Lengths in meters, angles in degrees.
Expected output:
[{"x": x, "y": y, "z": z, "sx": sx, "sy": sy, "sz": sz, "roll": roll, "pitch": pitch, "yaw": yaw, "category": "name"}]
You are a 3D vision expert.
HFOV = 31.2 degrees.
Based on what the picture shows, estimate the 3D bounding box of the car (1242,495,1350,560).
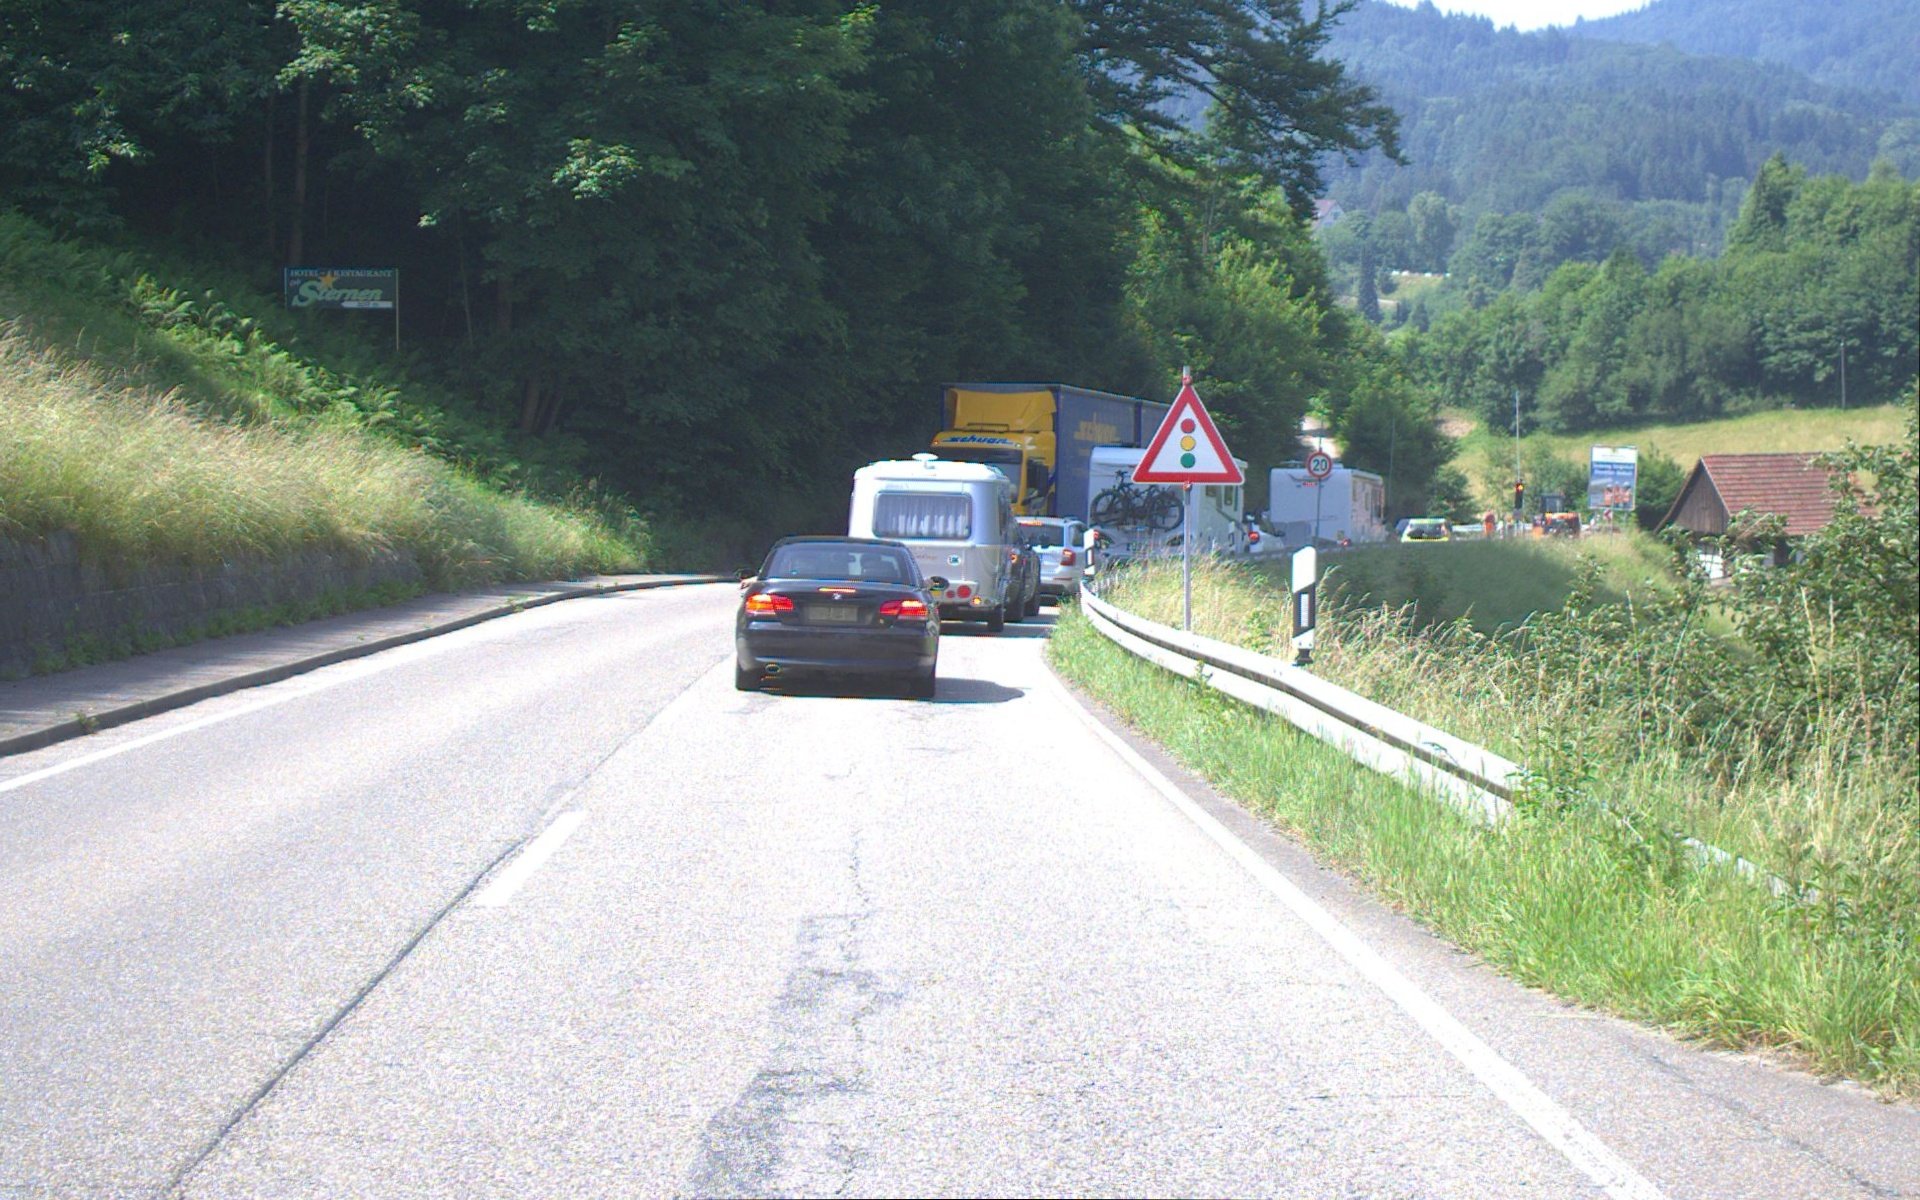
[{"x": 8.396, "y": -1.822, "z": 85.646, "sx": 1.789, "sy": 1.459, "sz": 3.997, "roll": 5, "pitch": 3, "yaw": 18, "category": "car"}]

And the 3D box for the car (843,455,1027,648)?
[{"x": -0.269, "y": -0.716, "z": 45.896, "sx": 1.994, "sy": 2.344, "sz": 4.914, "roll": 2, "pitch": 3, "yaw": 4, "category": "car"}]

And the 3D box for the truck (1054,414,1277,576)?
[{"x": 4.306, "y": -2.142, "z": 70.506, "sx": 2.793, "sy": 2.987, "sz": 6.862, "roll": 4, "pitch": 3, "yaw": 17, "category": "truck"}]

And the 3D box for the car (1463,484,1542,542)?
[{"x": 19.548, "y": -3.138, "z": 123.773, "sx": 1.996, "sy": 1.919, "sz": 3.996, "roll": 5, "pitch": 3, "yaw": 19, "category": "car"}]

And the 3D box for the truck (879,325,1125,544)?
[{"x": 0.994, "y": -3.512, "z": 73.787, "sx": 3.191, "sy": 4.381, "sz": 6.565, "roll": 4, "pitch": 3, "yaw": 19, "category": "truck"}]

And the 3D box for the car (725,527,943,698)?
[{"x": -1.106, "y": 0.065, "z": 30.516, "sx": 1.771, "sy": 1.331, "sz": 3.767, "roll": 2, "pitch": 2, "yaw": -2, "category": "car"}]

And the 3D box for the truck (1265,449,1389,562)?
[{"x": 9.905, "y": -2.502, "z": 92.334, "sx": 2.239, "sy": 2.794, "sz": 6.228, "roll": 3, "pitch": 1, "yaw": 15, "category": "truck"}]

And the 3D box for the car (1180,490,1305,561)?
[{"x": 6.531, "y": -1.727, "z": 79.111, "sx": 1.995, "sy": 1.459, "sz": 3.997, "roll": 4, "pitch": 3, "yaw": 16, "category": "car"}]

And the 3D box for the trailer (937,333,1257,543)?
[{"x": 3.562, "y": -3.704, "z": 81.444, "sx": 3.263, "sy": 4.402, "sz": 15.302, "roll": 3, "pitch": 2, "yaw": 18, "category": "trailer"}]

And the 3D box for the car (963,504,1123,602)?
[{"x": 1.449, "y": -0.815, "z": 58.170, "sx": 1.994, "sy": 1.479, "sz": 3.998, "roll": 4, "pitch": 2, "yaw": 11, "category": "car"}]
